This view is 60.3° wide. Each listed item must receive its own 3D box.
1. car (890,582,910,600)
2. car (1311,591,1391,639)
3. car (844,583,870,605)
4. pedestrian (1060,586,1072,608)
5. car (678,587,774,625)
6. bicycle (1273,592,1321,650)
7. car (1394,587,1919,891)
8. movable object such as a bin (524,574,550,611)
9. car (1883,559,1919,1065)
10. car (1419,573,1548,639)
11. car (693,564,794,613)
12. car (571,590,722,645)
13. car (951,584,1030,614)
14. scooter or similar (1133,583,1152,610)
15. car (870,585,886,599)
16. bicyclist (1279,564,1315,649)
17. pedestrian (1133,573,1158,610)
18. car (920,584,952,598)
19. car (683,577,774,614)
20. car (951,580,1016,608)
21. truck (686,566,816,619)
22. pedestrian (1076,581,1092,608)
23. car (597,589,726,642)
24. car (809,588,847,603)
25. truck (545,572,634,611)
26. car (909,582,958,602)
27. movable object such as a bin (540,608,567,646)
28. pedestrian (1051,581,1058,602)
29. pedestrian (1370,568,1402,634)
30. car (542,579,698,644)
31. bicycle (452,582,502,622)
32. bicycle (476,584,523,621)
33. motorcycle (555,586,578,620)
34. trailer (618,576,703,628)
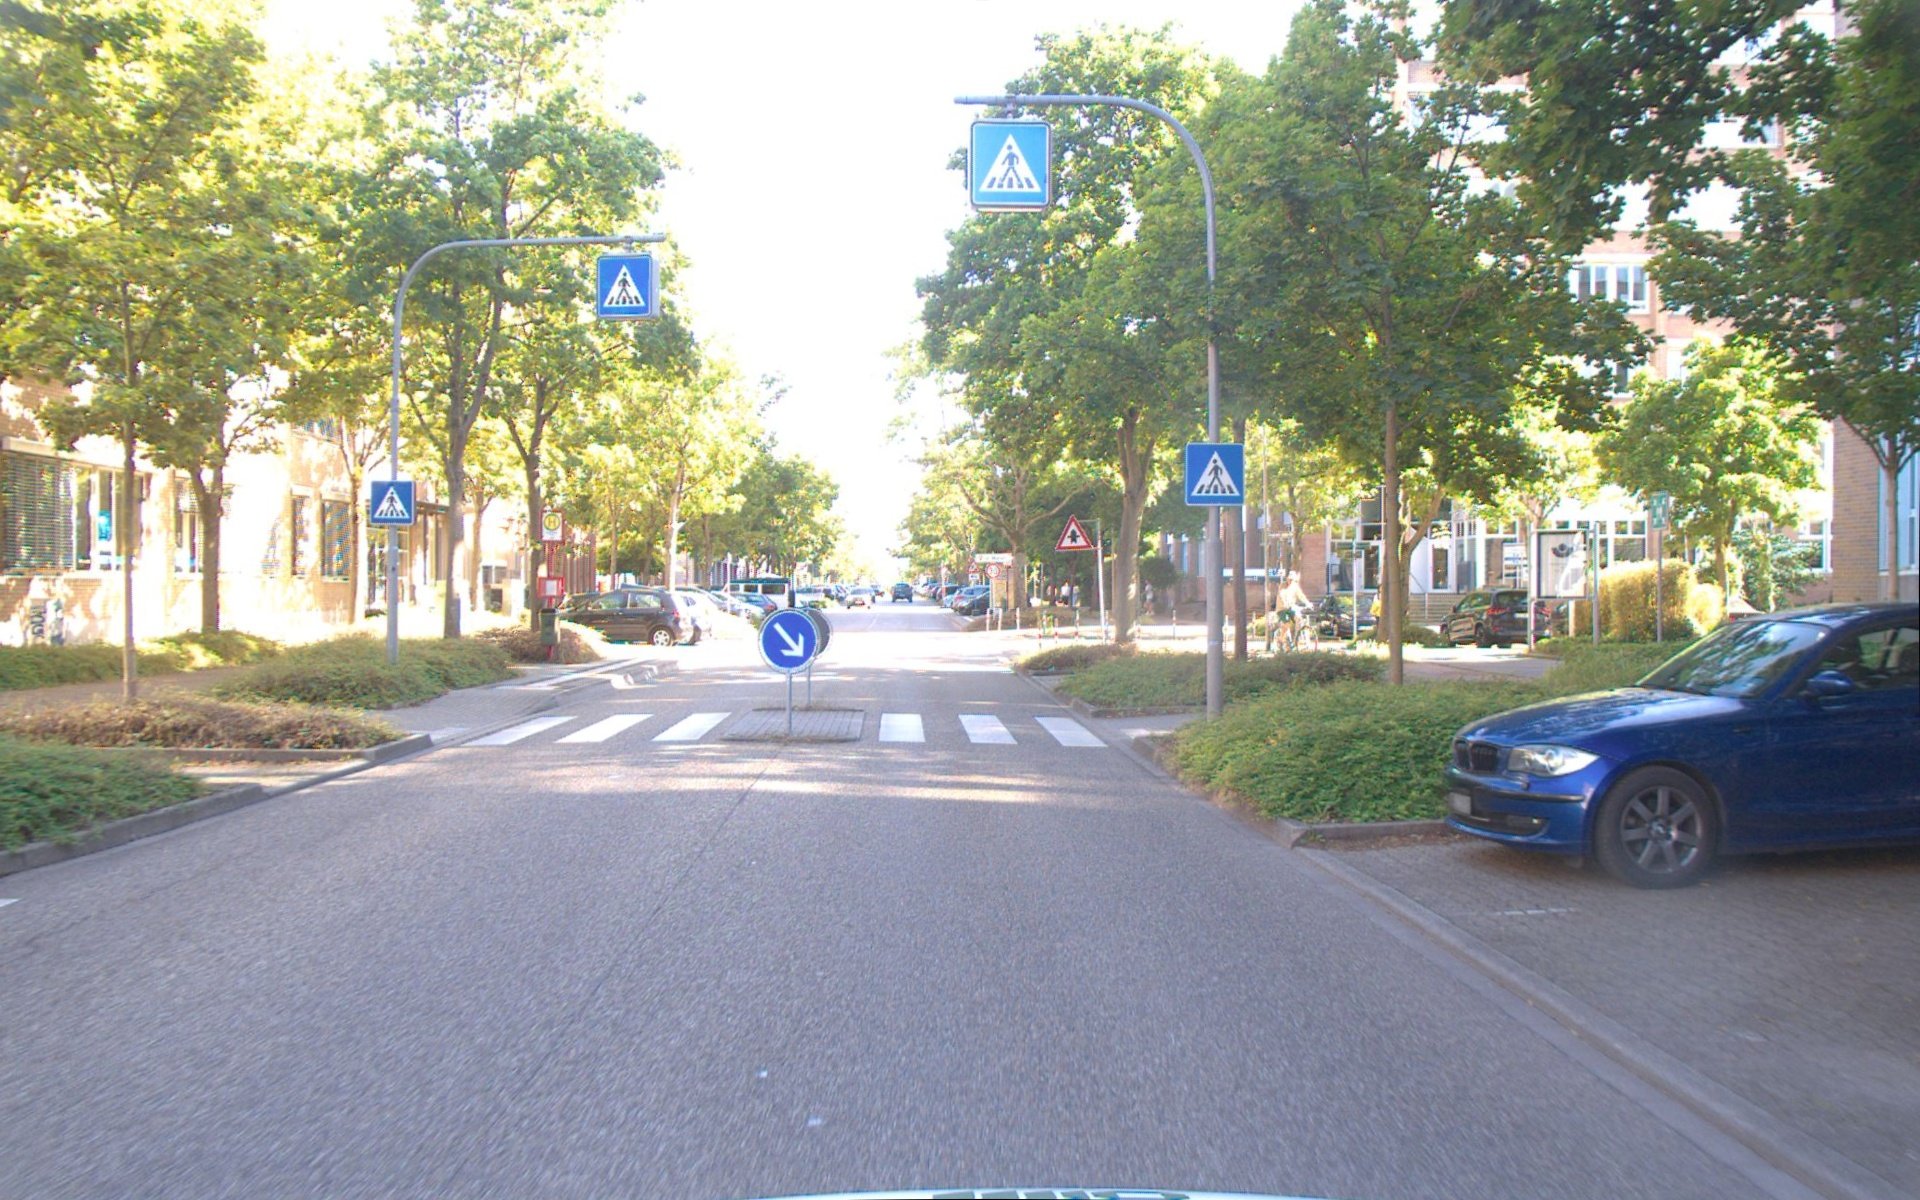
[{"bbox_3d":[-5.853,-0.891,161.051,1.894,1.625,4.364,-1,1,-3],"label":"car"},{"bbox_3d":[13.070,0.478,55.523,1.619,1.488,3.916,0,1,-2],"label":"car"},{"bbox_3d":[-7.358,-0.420,118.770,1.744,1.538,3.998,0,0,-2],"label":"car"},{"bbox_3d":[7.139,-0.204,111.853,0.687,1.483,0.715,-1,0,-5],"label":"pedestrian"},{"bbox_3d":[-9.927,0.240,70.267,3.755,1.486,1.733,1,0,1],"label":"car"},{"bbox_3d":[6.723,0.402,33.025,0.523,1.097,1.919,0,0,-1],"label":"bicycle"},{"bbox_3d":[4.722,0.679,9.362,4.036,1.394,1.652,-2,0,-6],"label":"car"},{"bbox_3d":[-18.988,-0.333,74.297,1.126,1.648,1.436,0,0,-15],"label":"movable object such as a bin"},{"bbox_3d":[5.111,0.578,4.711,4.044,1.618,1.658,-2,-1,-5],"label":"car"},{"bbox_3d":[13.606,0.201,43.277,1.704,1.593,4.361,0,-2,-5],"label":"car"},{"bbox_3d":[-9.861,-0.506,75.586,4.393,2.087,1.998,1,0,-4],"label":"car"},{"bbox_3d":[-9.061,0.499,48.049,4.069,1.427,1.800,2,0,-3],"label":"car"},{"bbox_3d":[1.750,-0.054,95.563,4.271,1.625,1.936,-1,0,-9],"label":"car"},{"bbox_3d":[9.357,-0.176,84.722,0.538,1.348,1.803,1,0,-7],"label":"scooter or similar"},{"bbox_3d":[-10.368,-1.070,208.169,1.855,1.713,4.349,-1,1,-4],"label":"car"},{"bbox_3d":[6.722,0.130,33.006,0.526,1.665,0.822,0,0,-2],"label":"bicyclist"},{"bbox_3d":[8.912,-0.418,79.494,0.903,1.740,0.695,-4,1,-16],"label":"pedestrian"},{"bbox_3d":[-3.150,-1.227,215.900,3.911,1.823,1.997,0,0,-8],"label":"car"},{"bbox_3d":[-10.078,-0.197,72.072,3.701,1.518,1.832,1,0,-1],"label":"car"},{"bbox_3d":[1.617,-0.419,114.287,4.318,1.646,1.911,-3,1,-3],"label":"car"},{"bbox_3d":[-10.170,-0.372,80.909,6.106,2.464,2.186,-1,0,-2],"label":"truck"},{"bbox_3d":[8.114,-0.350,108.130,0.684,1.740,0.917,-4,1,-13],"label":"pedestrian"},{"bbox_3d":[-9.185,0.467,51.089,3.679,1.477,1.753,2,1,-3],"label":"car"},{"bbox_3d":[-13.554,-0.493,169.821,3.815,1.489,1.857,0,0,-4],"label":"car"},{"bbox_3d":[-27.098,-0.611,121.113,5.984,2.752,2.576,-1,0,-4],"label":"truck"},{"bbox_3d":[-2.306,-0.707,144.152,4.184,1.662,1.856,-1,0,-5],"label":"car"},{"bbox_3d":[-8.102,0.540,32.949,0.433,0.744,0.408,1,0,-2],"label":"movable object such as a bin"},{"bbox_3d":[6.389,-0.579,111.890,0.373,1.466,0.433,1,0,-5],"label":"pedestrian"},{"bbox_3d":[10.455,0.029,40.605,0.528,1.610,0.646,0,0,-12],"label":"pedestrian"},{"bbox_3d":[-9.254,0.302,45.280,3.907,1.598,1.727,2,0,-3],"label":"car"},{"bbox_3d":[-18.091,0.079,61.899,1.702,1.433,0.610,1,0,-26],"label":"bicycle"},{"bbox_3d":[-18.218,0.094,65.489,1.702,1.433,0.610,1,0,-26],"label":"bicycle"},{"bbox_3d":[-18.887,0.137,79.395,0.700,1.619,2.108,-1,0,-4],"label":"motorcycle"},{"bbox_3d":[-10.486,0.053,58.050,2.670,1.717,1.712,1,0,-2],"label":"trailer"}]
